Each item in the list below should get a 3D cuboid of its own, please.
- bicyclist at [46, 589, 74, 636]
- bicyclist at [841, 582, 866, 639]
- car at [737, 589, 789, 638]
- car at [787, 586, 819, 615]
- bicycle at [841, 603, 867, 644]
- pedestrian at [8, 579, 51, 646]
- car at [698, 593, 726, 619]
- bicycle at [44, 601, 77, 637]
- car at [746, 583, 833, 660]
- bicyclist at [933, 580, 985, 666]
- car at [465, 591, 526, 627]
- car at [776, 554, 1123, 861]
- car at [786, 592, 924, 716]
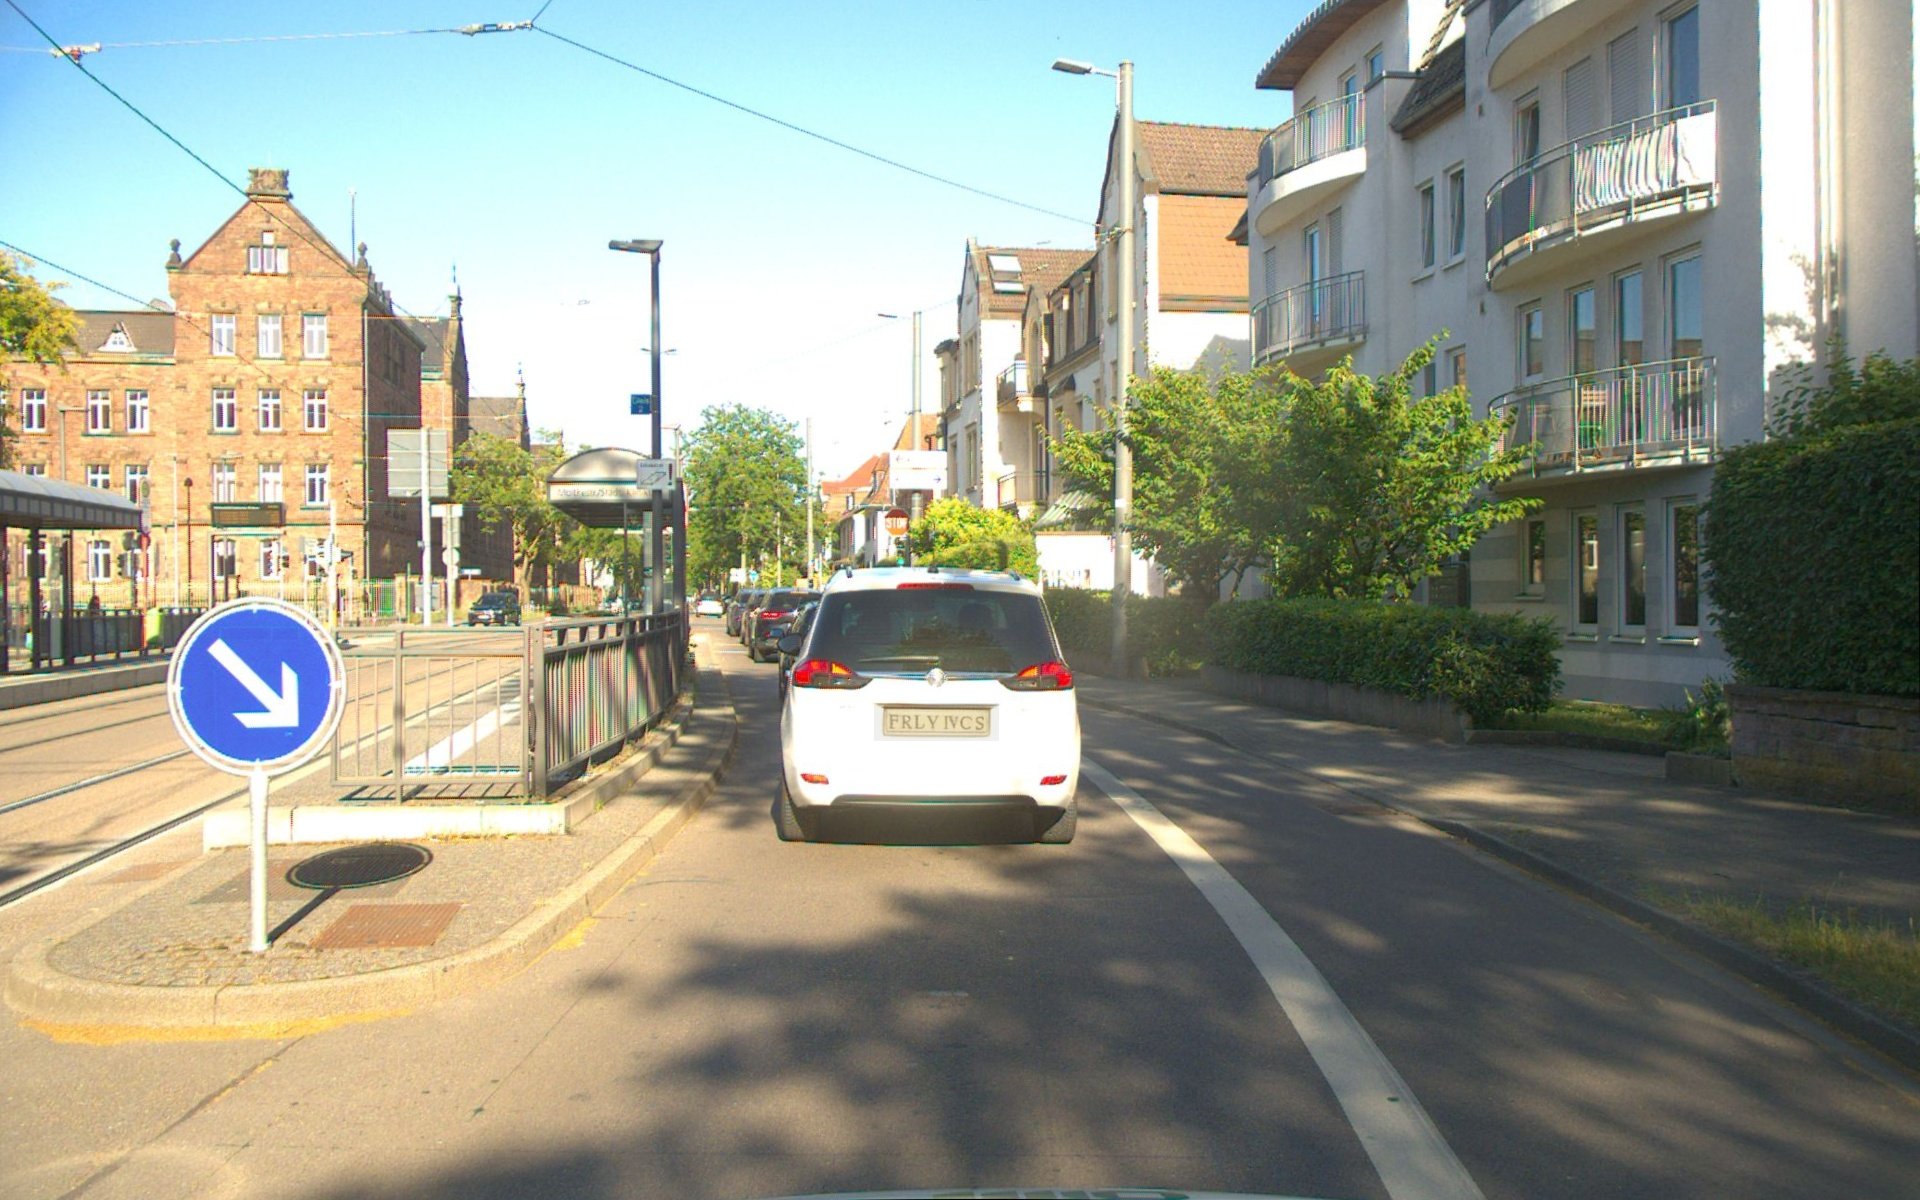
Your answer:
[{"bbox_3d":[-27.138,0.377,49.863,0.683,1.408,0.527,0,-1,-36],"label":"bicyclist"},{"bbox_3d":[-3.133,0.318,48.671,0.672,1.663,1.014,0,0,-7],"label":"bicyclist"},{"bbox_3d":[-6.892,0.474,57.762,1.742,1.660,3.874,0,0,-7],"label":"car"},{"bbox_3d":[-9.240,0.047,97.129,1.742,1.660,3.874,0,0,-7],"label":"car"},{"bbox_3d":[-3.116,0.683,48.535,0.672,1.177,1.617,0,0,-7],"label":"bicycle"},{"bbox_3d":[-26.569,0.346,47.237,0.713,1.893,1.095,0,0,-7],"label":"pedestrian"},{"bbox_3d":[-16.342,0.407,109.233,1.742,1.722,3.874,0,0,-7],"label":"car"},{"bbox_3d":[-27.069,0.577,49.756,0.685,1.068,1.649,0,0,-35],"label":"bicycle"},{"bbox_3d":[-3.907,0.465,37.457,1.743,1.660,3.872,0,0,-9],"label":"car"},{"bbox_3d":[-0.027,0.414,30.059,0.806,1.528,0.932,0,0,-10],"label":"bicyclist"},{"bbox_3d":[-23.165,0.430,82.643,1.867,1.706,4.357,0,0,-1],"label":"car"},{"bbox_3d":[-0.257,0.591,11.085,1.801,1.670,3.911,0,0,-8],"label":"car"},{"bbox_3d":[-1.448,0.629,21.639,1.556,1.445,3.894,-1,0,-7],"label":"car"}]
